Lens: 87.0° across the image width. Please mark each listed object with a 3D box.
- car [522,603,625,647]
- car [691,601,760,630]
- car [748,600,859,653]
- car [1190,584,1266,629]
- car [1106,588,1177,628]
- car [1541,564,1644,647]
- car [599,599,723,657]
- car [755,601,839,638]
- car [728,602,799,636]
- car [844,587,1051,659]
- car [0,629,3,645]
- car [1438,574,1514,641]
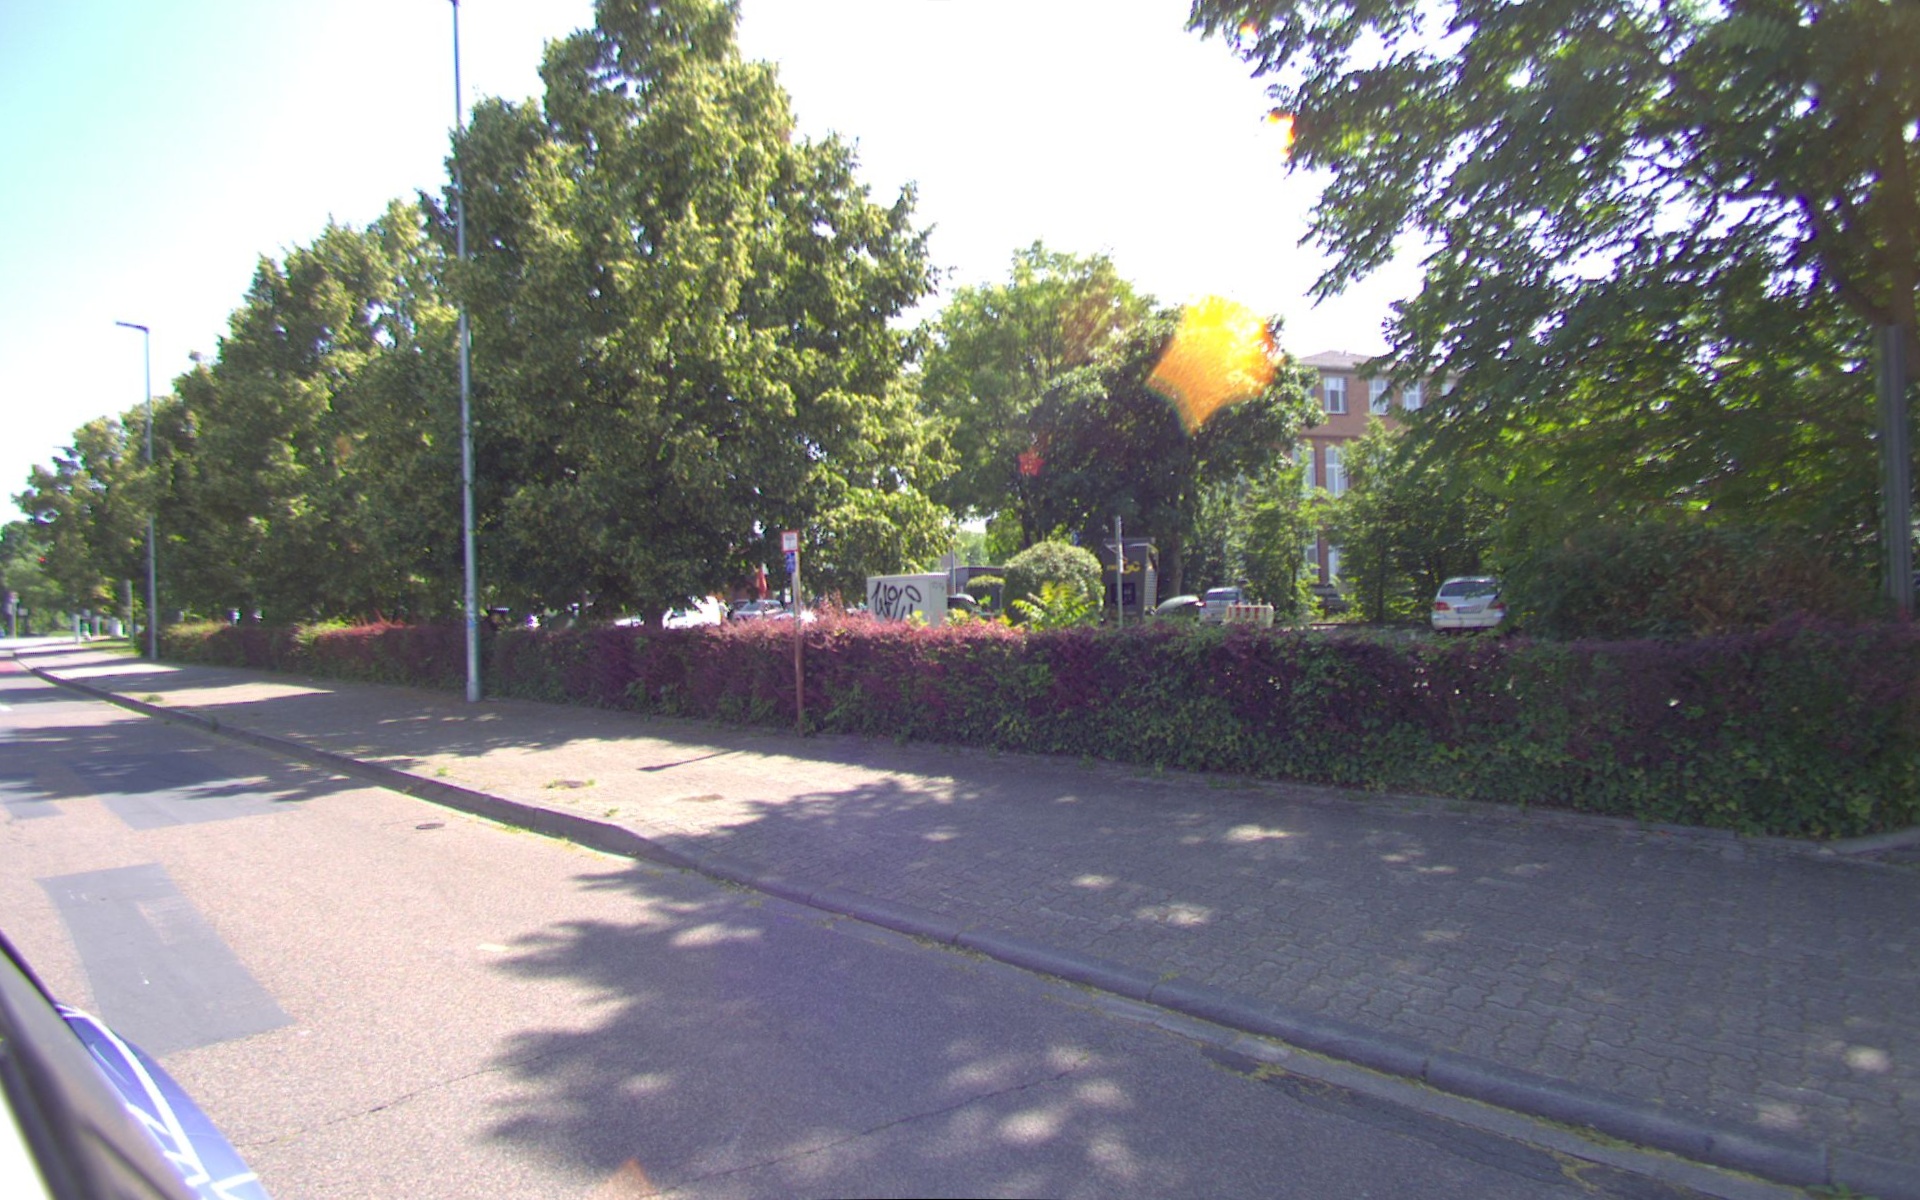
[{"bbox_3d":[-17.217,1.128,45.094,4.198,1.812,1.748,-2,0,21],"label":"car"},{"bbox_3d":[-14.015,0.922,60.439,3.933,1.606,1.932,-1,0,-13],"label":"car"},{"bbox_3d":[-5.255,0.879,34.498,1.895,1.595,3.778,-2,1,26],"label":"car"},{"bbox_3d":[9.785,0.197,36.742,1.786,1.461,4.009,-2,1,28],"label":"car"},{"bbox_3d":[7.909,0.317,43.904,1.812,1.588,3.830,-2,1,30],"label":"car"},{"bbox_3d":[14.608,0.079,23.550,1.794,1.745,3.984,-2,1,29],"label":"car"},{"bbox_3d":[-10.348,0.923,35.372,1.738,1.841,4.319,-3,-1,24],"label":"car"},{"bbox_3d":[-7.756,0.926,48.171,3.709,1.644,1.652,-2,0,30],"label":"car"},{"bbox_3d":[-9.954,0.947,51.489,1.614,1.543,3.576,-2,1,30],"label":"car"},{"bbox_3d":[-0.396,0.524,24.591,5.031,1.572,2.045,-1,0,44],"label":"car"},{"bbox_3d":[-95.974,3.661,100.120,3.683,1.547,1.588,-2,0,43],"label":"car"},{"bbox_3d":[13.517,0.150,26.487,1.636,1.599,3.813,-2,1,28],"label":"car"}]
